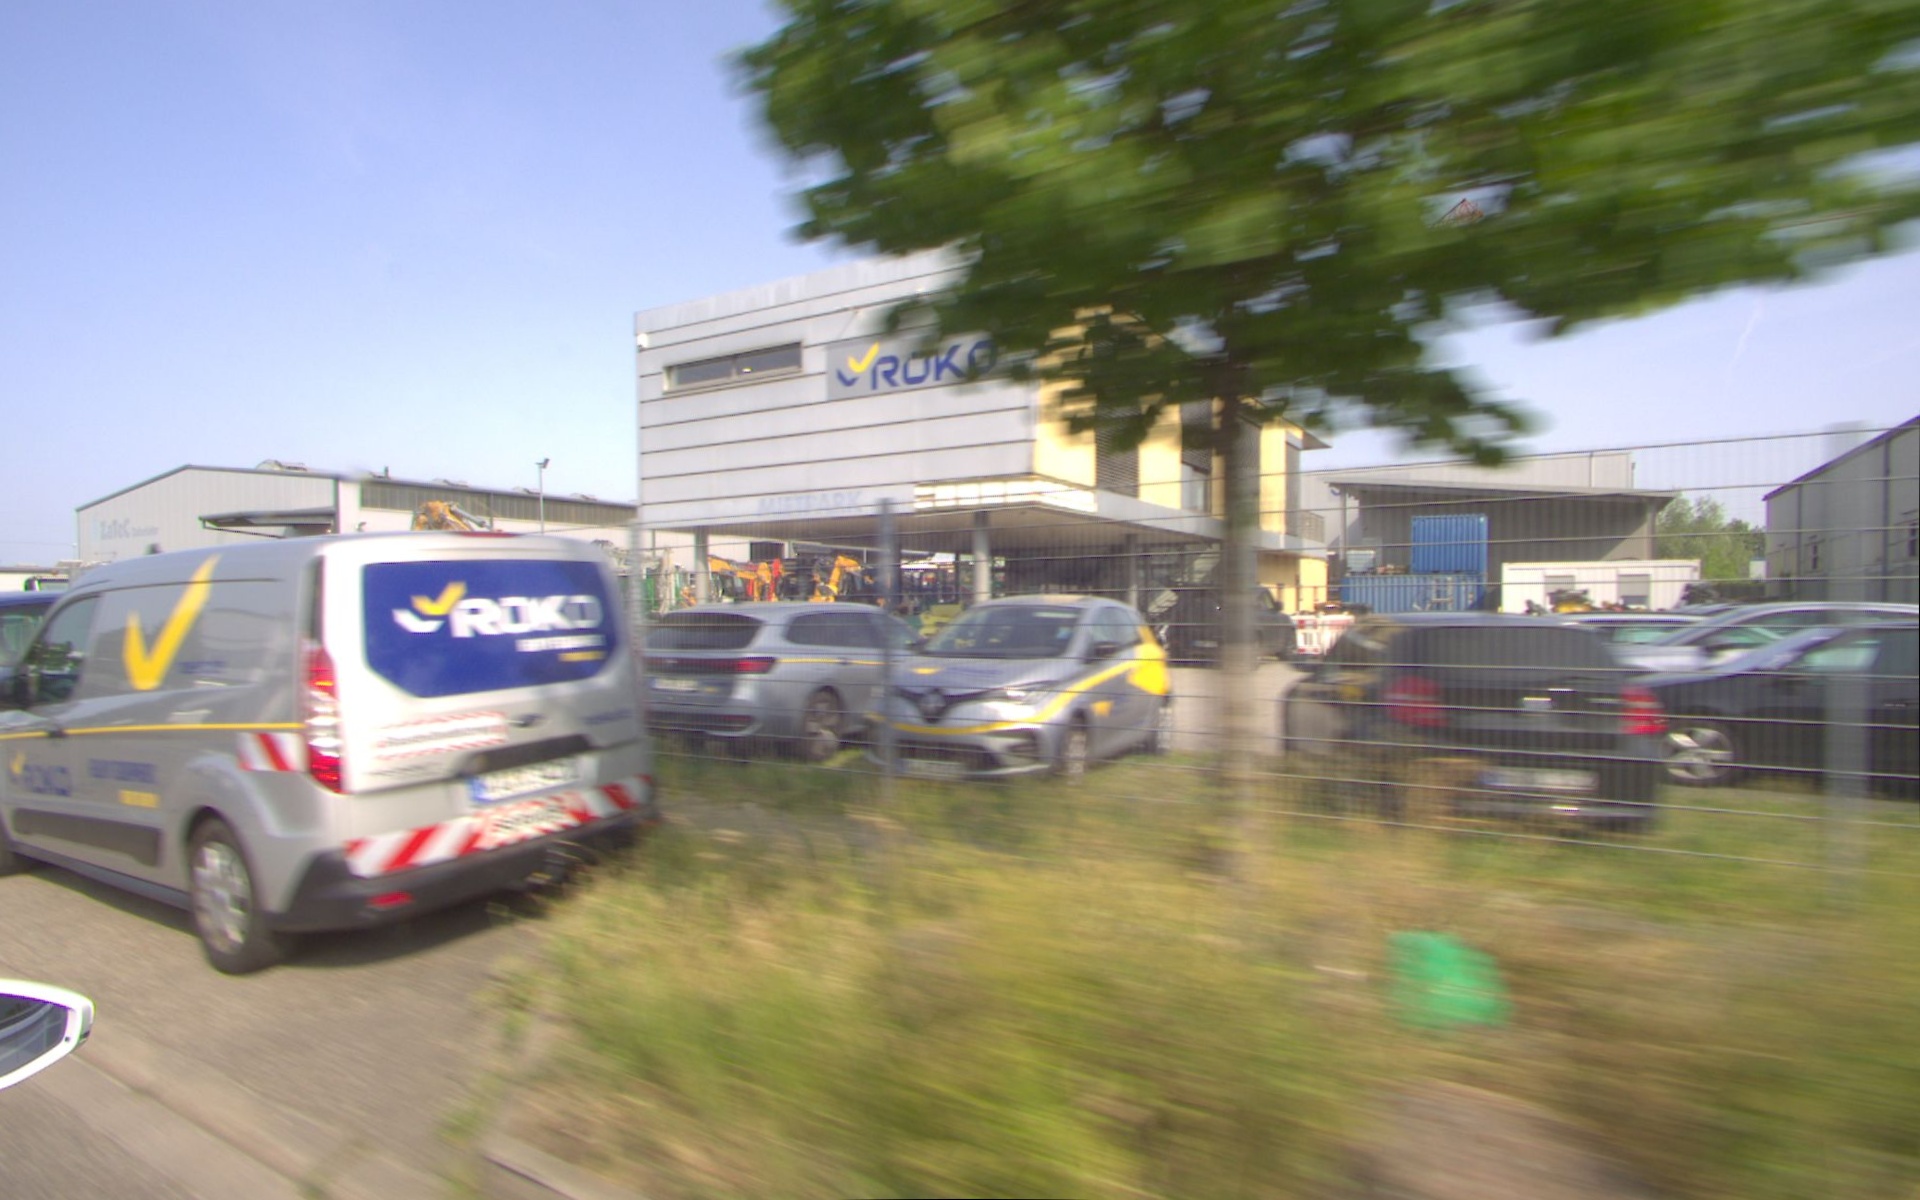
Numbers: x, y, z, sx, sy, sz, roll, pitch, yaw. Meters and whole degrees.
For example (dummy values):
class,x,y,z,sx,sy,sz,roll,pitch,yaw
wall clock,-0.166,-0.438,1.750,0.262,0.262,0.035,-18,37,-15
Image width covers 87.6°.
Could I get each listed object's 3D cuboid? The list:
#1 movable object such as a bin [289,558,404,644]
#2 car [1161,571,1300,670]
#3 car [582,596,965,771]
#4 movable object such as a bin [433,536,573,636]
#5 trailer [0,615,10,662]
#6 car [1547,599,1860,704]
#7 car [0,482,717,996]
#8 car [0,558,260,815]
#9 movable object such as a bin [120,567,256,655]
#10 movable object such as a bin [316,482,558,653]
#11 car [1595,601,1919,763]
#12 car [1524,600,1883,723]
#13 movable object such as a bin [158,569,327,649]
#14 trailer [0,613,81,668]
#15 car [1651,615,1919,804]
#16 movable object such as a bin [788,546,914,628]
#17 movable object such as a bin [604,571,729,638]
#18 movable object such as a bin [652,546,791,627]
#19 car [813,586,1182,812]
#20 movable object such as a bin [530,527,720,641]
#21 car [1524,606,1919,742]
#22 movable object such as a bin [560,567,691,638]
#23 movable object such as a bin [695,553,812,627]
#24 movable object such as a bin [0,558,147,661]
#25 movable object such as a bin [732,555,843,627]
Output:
class,x,y,z,sx,sy,sz,roll,pitch,yaw
movable object such as a bin,-23.320,0.033,38.035,4.427,3.072,1.988,0,1,32
car,6.251,0.423,22.797,1.868,2.028,4.348,1,0,32
car,-1.628,0.721,10.144,1.762,1.388,3.987,0,-2,27
movable object such as a bin,-19.194,-0.551,41.993,5.636,3.925,2.678,0,1,32
trailer,-28.507,1.038,27.627,4.724,1.260,2.123,0,0,30
car,13.371,0.852,18.393,4.301,1.714,1.888,0,0,27
car,-3.703,0.533,5.614,4.535,1.813,1.989,-1,-1,33
car,-7.976,0.622,8.459,4.186,1.743,1.823,-1,0,31
movable object such as a bin,-23.441,0.303,30.360,4.700,2.491,1.986,0,1,36
movable object such as a bin,-16.621,-0.952,31.735,7.557,4.871,3.311,1,1,30
car,9.429,0.814,10.894,4.036,1.577,1.888,0,0,27
car,11.580,0.880,16.040,4.301,1.714,1.888,0,0,27
movable object such as a bin,-24.451,0.273,34.102,5.262,2.525,2.916,0,1,32
trailer,-24.427,0.981,25.417,4.229,1.260,1.941,0,0,30
car,8.277,0.876,8.442,3.943,1.451,1.881,0,0,33
movable object such as a bin,-5.588,-0.630,51.353,5.929,3.982,2.715,0,1,27
movable object such as a bin,-13.090,0.151,44.570,5.604,2.806,2.050,1,1,30
movable object such as a bin,-12.297,-0.647,51.501,7.090,3.982,2.463,0,1,28
car,0.589,0.710,8.809,1.762,1.496,3.987,0,-1,26
movable object such as a bin,-12.764,-0.608,38.008,7.099,3.983,2.913,1,1,30
car,10.166,0.892,13.527,4.301,1.577,1.888,0,0,27
movable object such as a bin,-14.136,0.062,42.180,5.604,2.806,2.050,1,1,30
movable object such as a bin,-11.298,-0.512,54.718,6.047,3.832,2.448,0,1,28
movable object such as a bin,-26.142,0.256,29.486,5.085,2.789,1.883,0,1,32
movable object such as a bin,-9.979,-0.474,57.812,6.047,3.982,2.448,0,1,28
